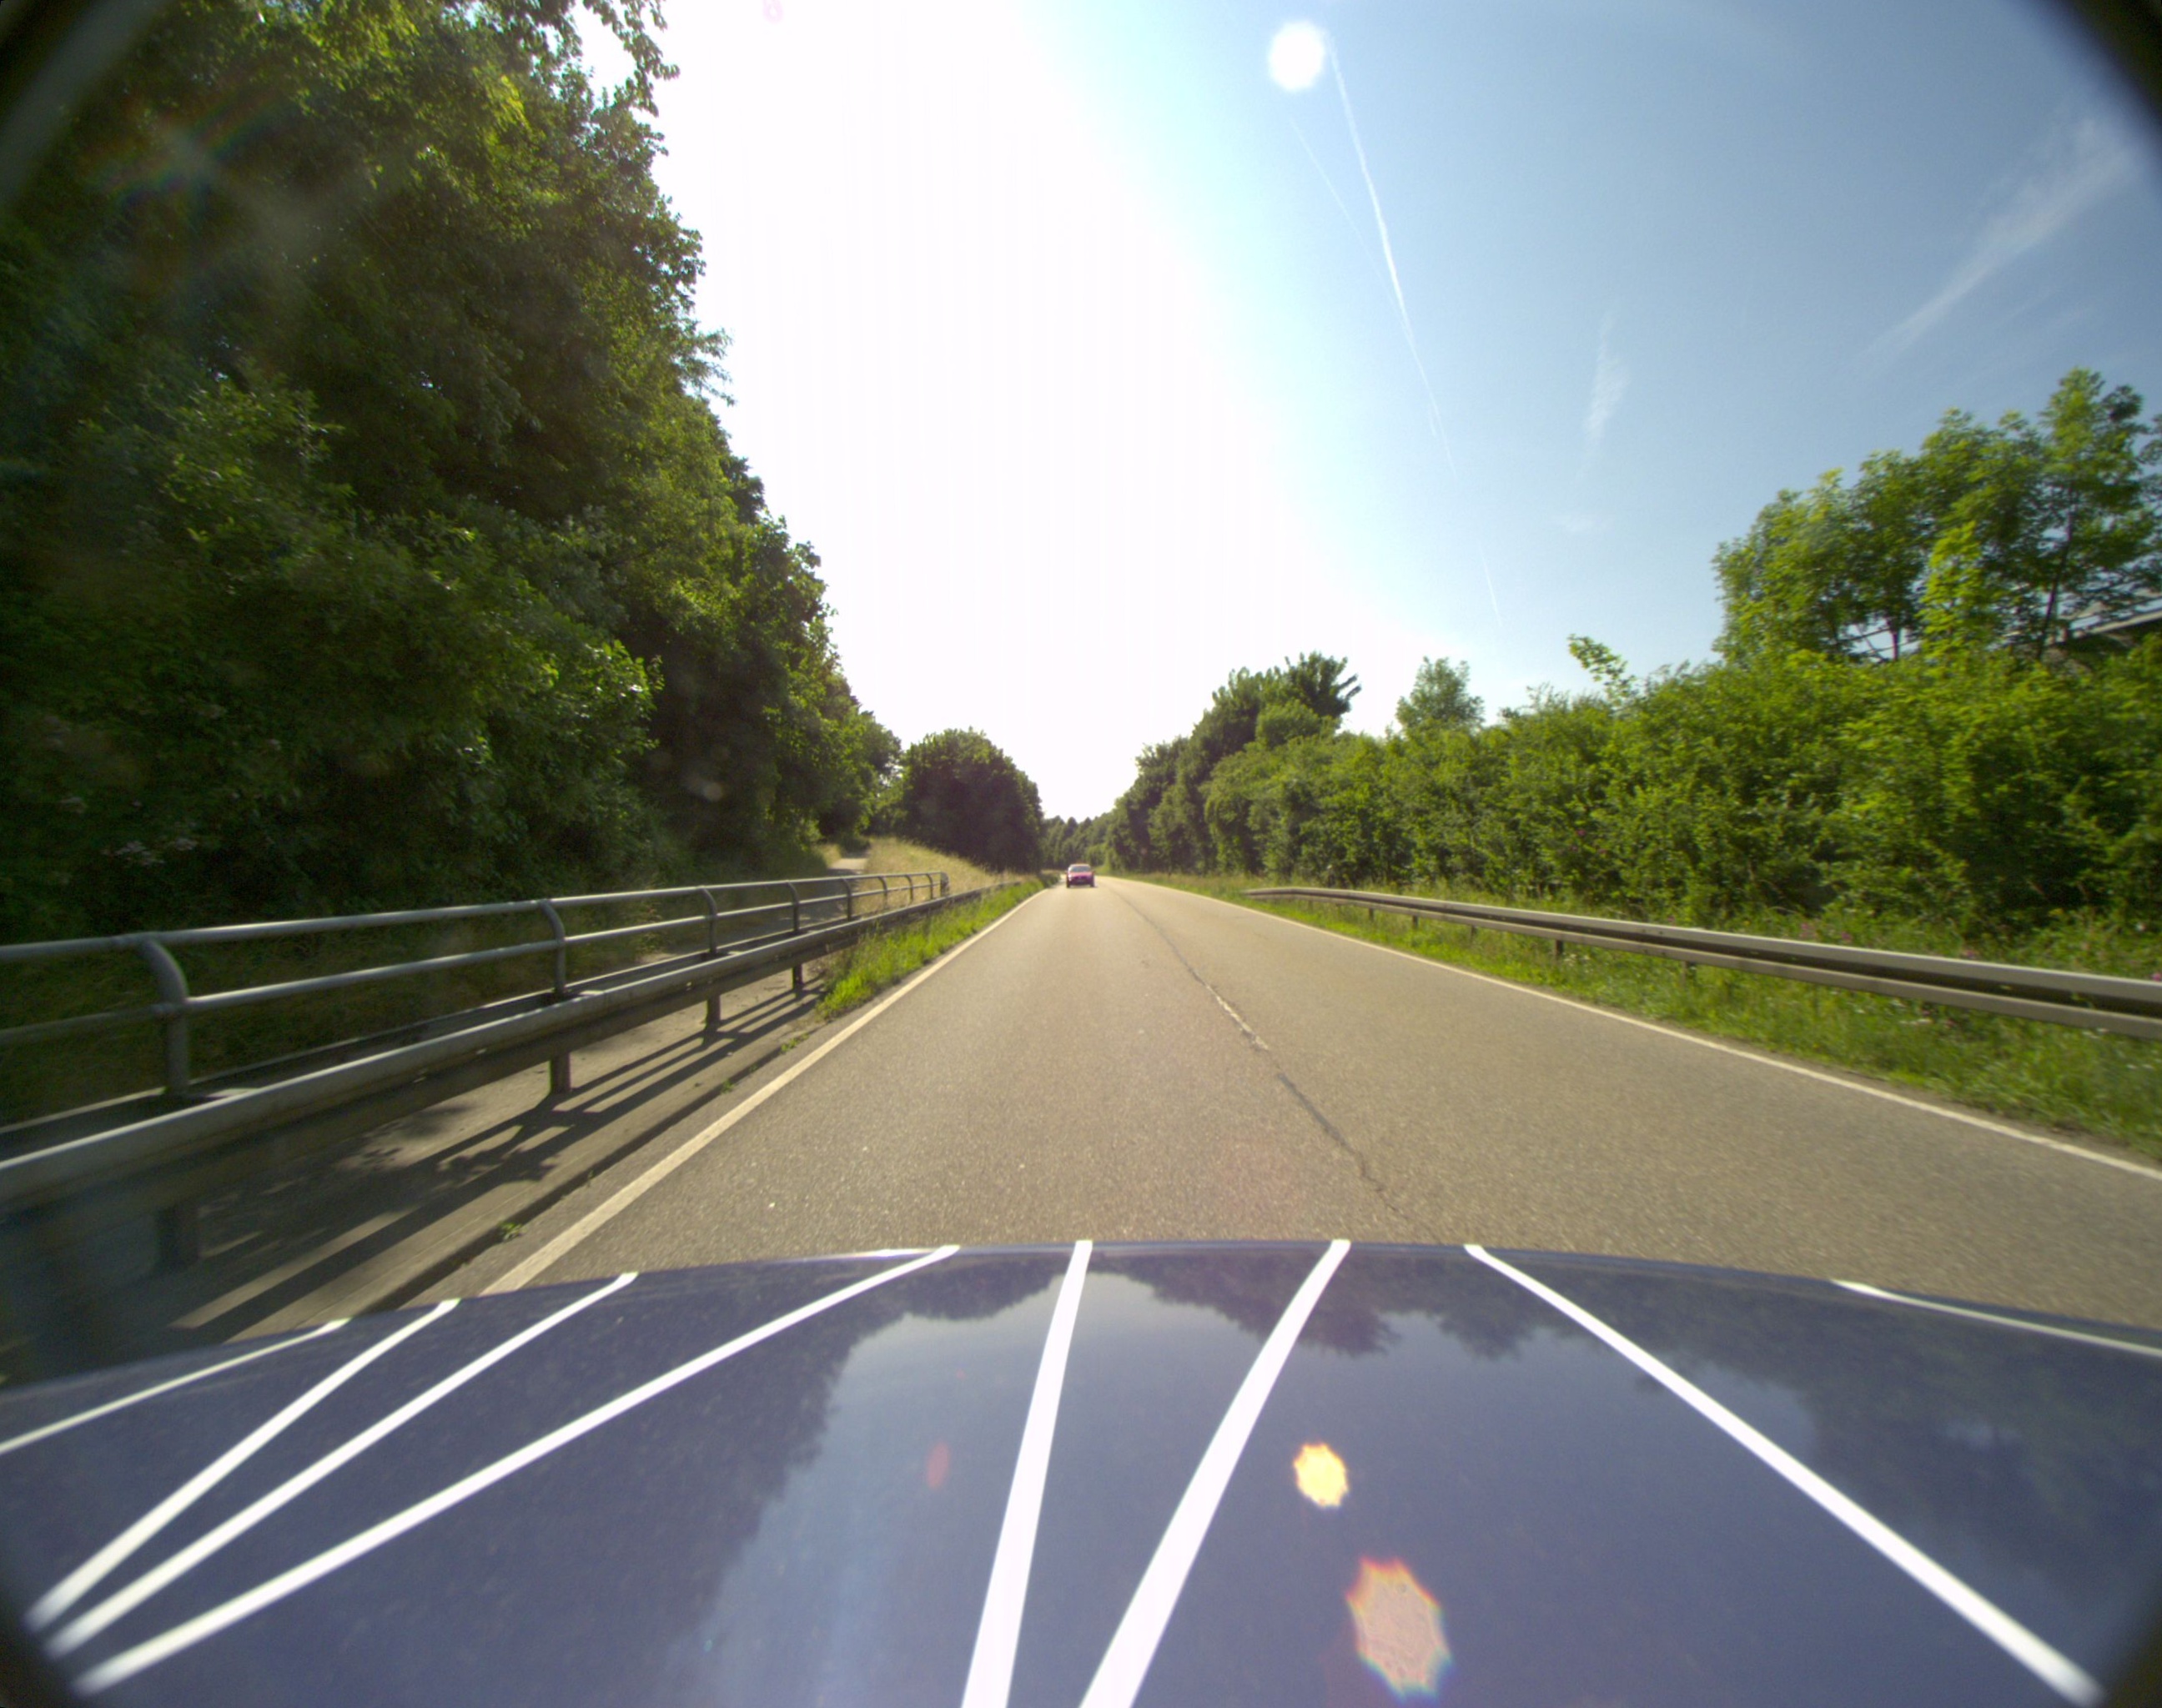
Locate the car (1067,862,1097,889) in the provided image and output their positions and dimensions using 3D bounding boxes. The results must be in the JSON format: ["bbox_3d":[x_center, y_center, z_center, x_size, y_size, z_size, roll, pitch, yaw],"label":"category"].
[{"bbox_3d":[0.059,1.355,48.843,1.816,1.488,4.284,-1,1,-1],"label":"car"}]
